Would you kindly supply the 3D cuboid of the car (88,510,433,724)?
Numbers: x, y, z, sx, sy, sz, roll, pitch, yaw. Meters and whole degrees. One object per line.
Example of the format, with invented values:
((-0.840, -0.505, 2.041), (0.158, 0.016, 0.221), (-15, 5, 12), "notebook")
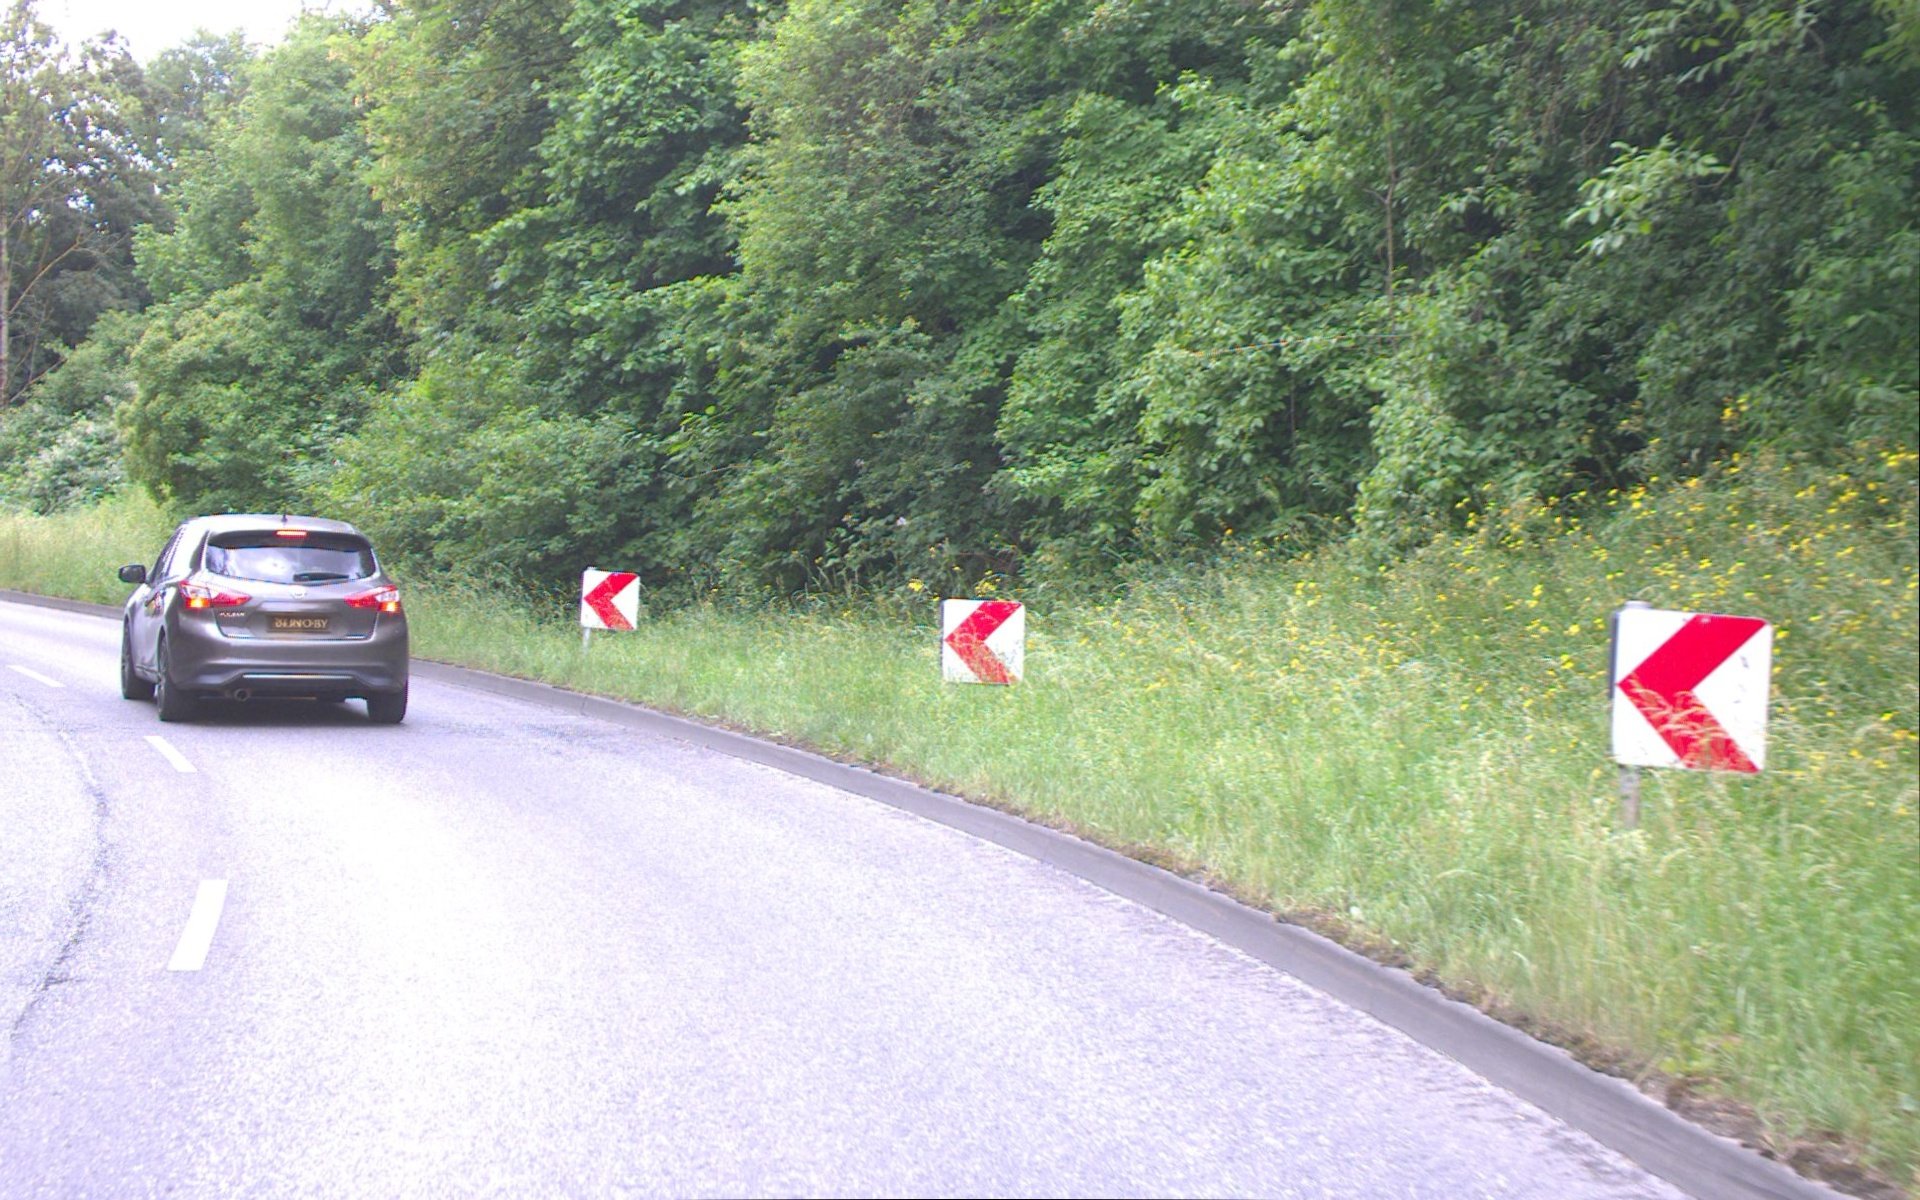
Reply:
((-5.422, 0.087, 26.270), (1.839, 1.478, 4.001), (-1, 1, -22), "car")
